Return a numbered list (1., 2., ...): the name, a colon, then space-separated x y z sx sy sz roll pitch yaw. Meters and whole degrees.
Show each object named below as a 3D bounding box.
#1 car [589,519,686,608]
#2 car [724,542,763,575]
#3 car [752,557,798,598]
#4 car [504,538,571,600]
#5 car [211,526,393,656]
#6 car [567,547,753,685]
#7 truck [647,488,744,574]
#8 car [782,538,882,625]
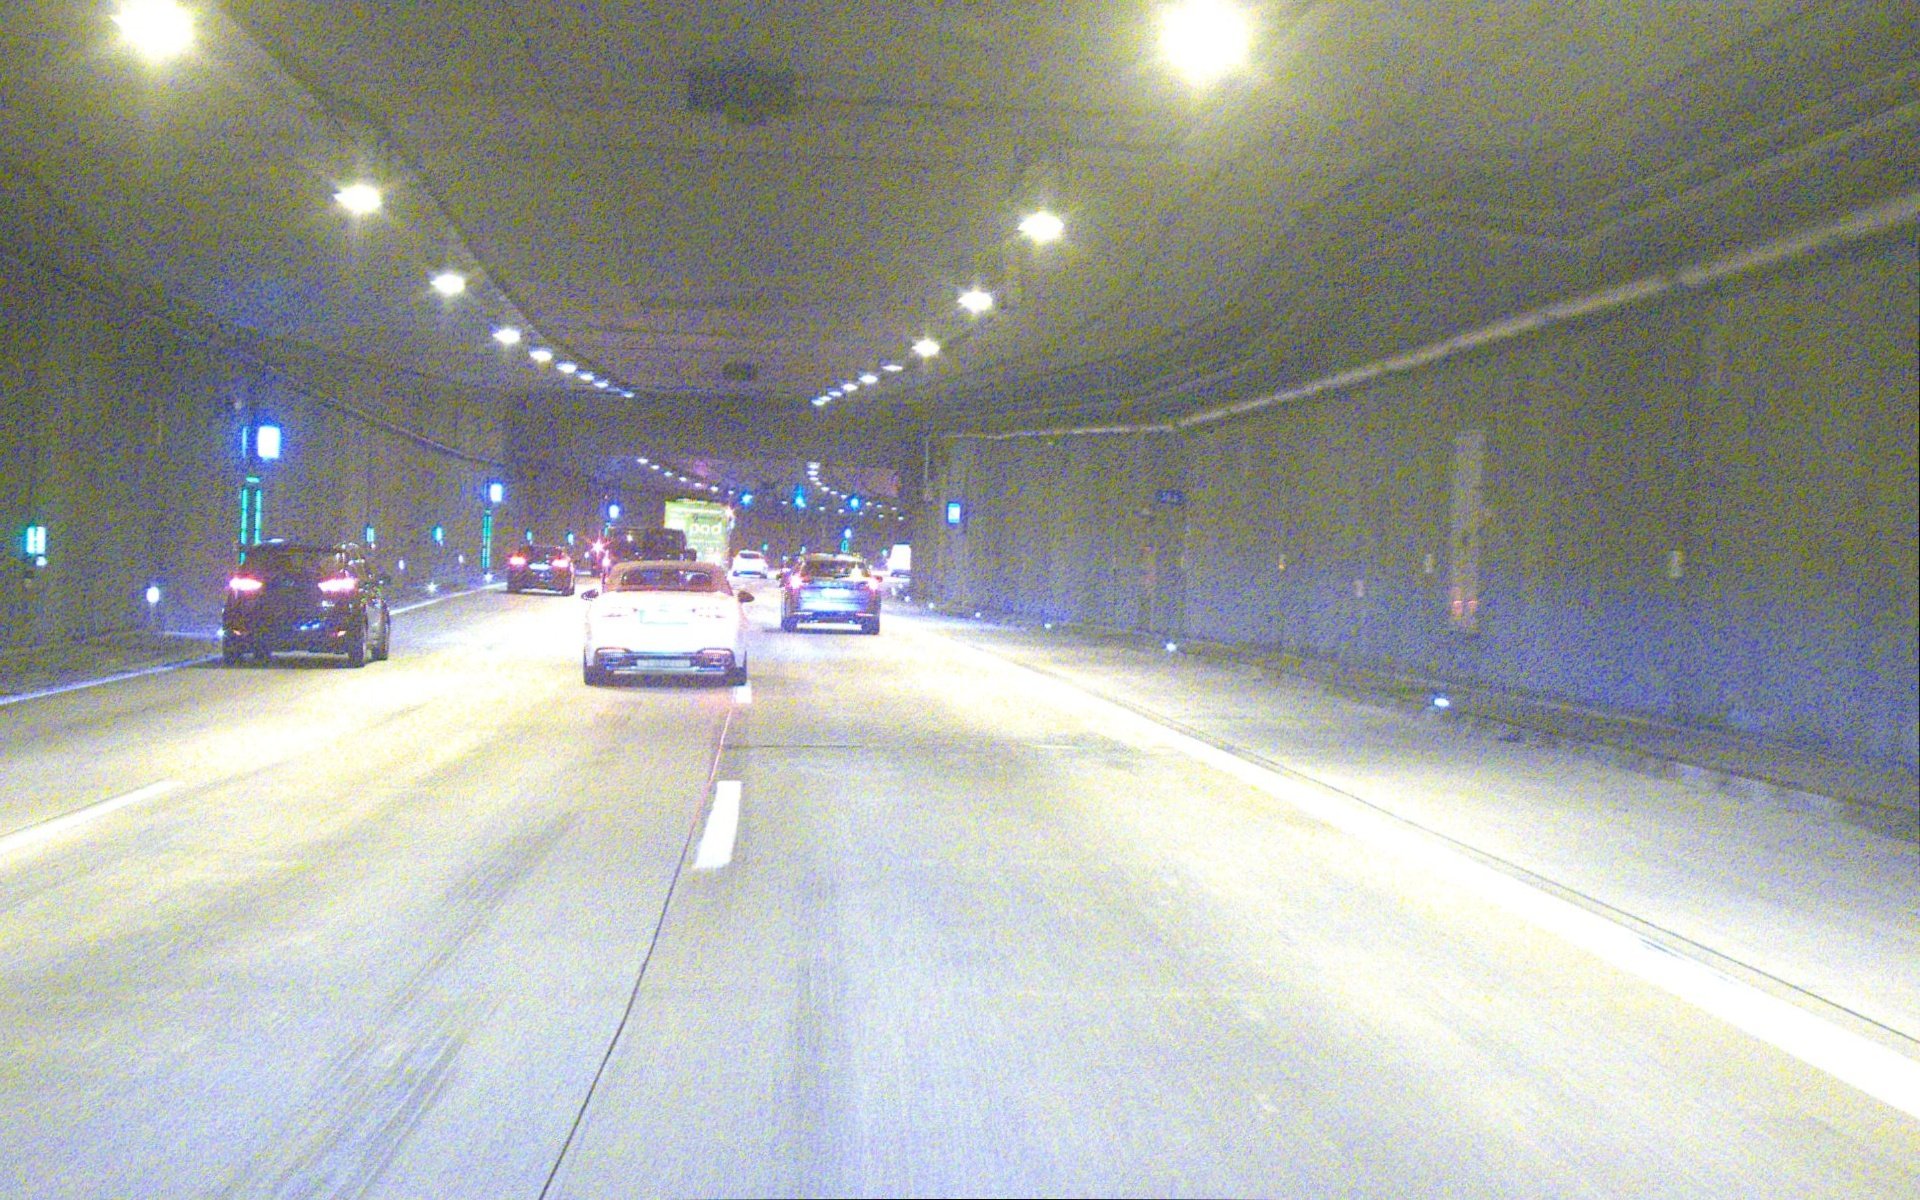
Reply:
1. car: -7.303 -0.817 78.123 1.993 1.965 4.000 0 0 -2
2. car: -11.851 -2.277 188.422 1.993 1.748 4.000 2 0 -2
3. car: -8.263 -1.003 153.442 1.993 1.748 4.000 2 0 -4
4. car: -11.752 -0.864 95.610 1.800 1.678 4.001 1 0 -7
5. car: -8.393 -0.141 44.136 1.785 1.593 3.802 0 1 -3
6. car: -3.394 0.154 39.360 1.993 1.478 4.001 1 1 -4
7. truck: -10.088 -2.662 131.825 3.082 3.102 10.030 2 1 -1
8. car: -2.431 -0.357 65.583 1.839 1.597 4.000 1 0 -2
